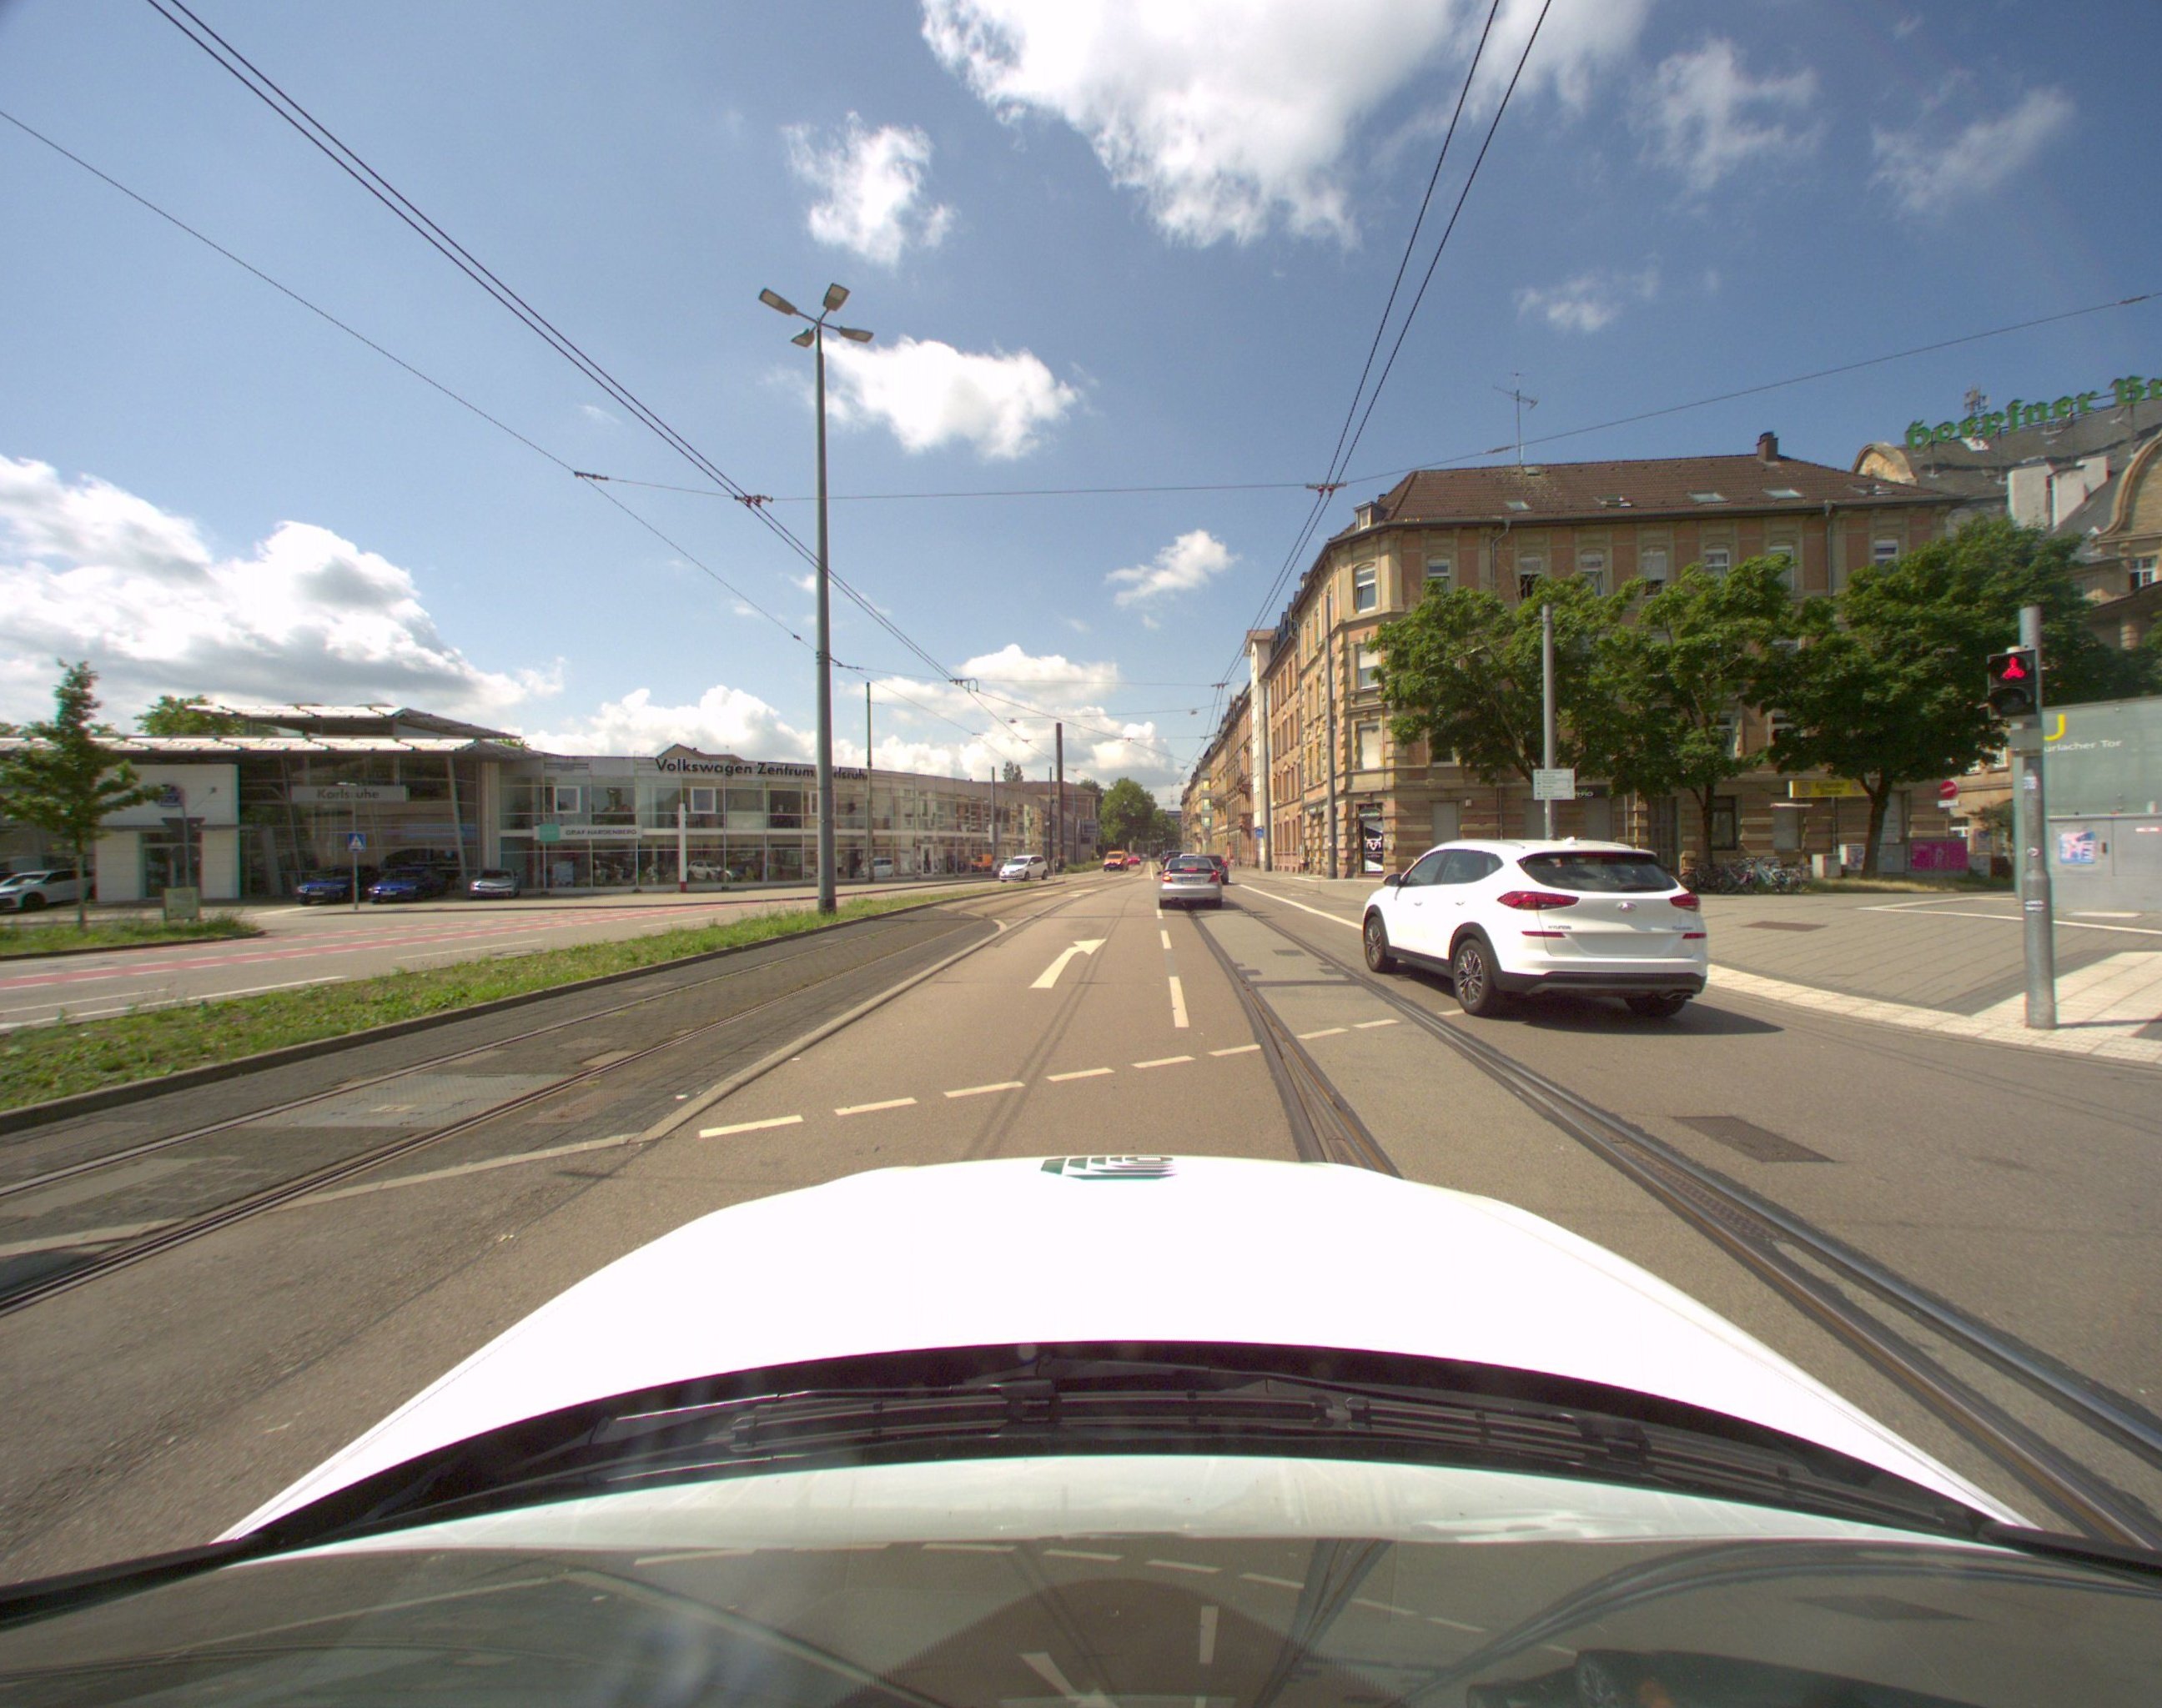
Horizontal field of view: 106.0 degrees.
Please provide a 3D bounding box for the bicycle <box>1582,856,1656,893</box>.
[{"bbox_3d":[16.944,0.627,25.740,1.019,1.081,2.268,-3,0,7],"label":"bicycle"}]

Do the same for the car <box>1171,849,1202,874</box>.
[{"bbox_3d":[6.992,0.482,54.221,1.806,1.524,3.960,-1,0,5],"label":"car"}]

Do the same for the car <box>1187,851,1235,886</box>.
[{"bbox_3d":[6.243,0.662,39.469,1.807,1.524,4.088,-1,0,3],"label":"car"}]

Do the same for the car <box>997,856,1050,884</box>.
[{"bbox_3d":[-3.634,0.987,52.546,1.752,1.604,4.515,-3,0,18],"label":"car"}]

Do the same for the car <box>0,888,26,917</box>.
[{"bbox_3d":[-47.970,2.171,34.822,1.555,1.246,3.621,-1,0,-14],"label":"car"}]

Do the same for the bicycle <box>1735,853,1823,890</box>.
[{"bbox_3d":[21.944,0.522,25.690,0.787,1.053,2.579,-3,0,7],"label":"bicycle"}]

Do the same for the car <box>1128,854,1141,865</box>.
[{"bbox_3d":[7.218,0.747,109.282,1.694,1.428,3.906,-1,0,4],"label":"car"}]

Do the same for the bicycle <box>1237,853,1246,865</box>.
[{"bbox_3d":[15.756,0.468,80.017,0.583,1.178,2.208,-2,0,6],"label":"bicycle"}]

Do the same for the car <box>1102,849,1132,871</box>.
[{"bbox_3d":[3.312,0.493,73.734,1.898,1.865,4.382,-3,0,12],"label":"car"}]

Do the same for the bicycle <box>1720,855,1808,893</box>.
[{"bbox_3d":[21.021,0.584,25.165,0.787,1.091,2.579,-3,0,7],"label":"bicycle"}]

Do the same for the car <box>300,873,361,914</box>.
[{"bbox_3d":[-33.849,1.731,36.806,1.786,1.672,3.597,-1,0,-39],"label":"car"}]

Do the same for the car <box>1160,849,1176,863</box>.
[{"bbox_3d":[11.835,0.216,110.631,1.985,1.859,4.004,-1,0,3],"label":"car"}]

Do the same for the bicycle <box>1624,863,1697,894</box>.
[{"bbox_3d":[17.994,0.738,25.354,0.837,0.880,2.293,-3,0,7],"label":"bicycle"}]

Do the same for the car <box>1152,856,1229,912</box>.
[{"bbox_3d":[3.042,0.779,23.307,1.807,1.420,4.191,-1,0,3],"label":"car"}]

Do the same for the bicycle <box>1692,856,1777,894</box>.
[{"bbox_3d":[20.129,0.626,25.164,0.787,1.053,2.579,-3,0,7],"label":"bicycle"}]

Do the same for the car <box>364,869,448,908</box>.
[{"bbox_3d":[-30.698,1.527,37.182,1.660,1.473,3.765,-1,2,-18],"label":"car"}]

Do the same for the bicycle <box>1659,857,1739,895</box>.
[{"bbox_3d":[19.292,0.663,25.512,0.787,1.070,2.579,-3,0,7],"label":"bicycle"}]

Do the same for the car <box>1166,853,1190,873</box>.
[{"bbox_3d":[8.226,0.745,69.158,1.806,1.661,4.090,-2,0,5],"label":"car"}]

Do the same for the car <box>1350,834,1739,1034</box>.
[{"bbox_3d":[4.496,0.660,8.767,1.846,1.634,4.180,0,0,0],"label":"car"}]

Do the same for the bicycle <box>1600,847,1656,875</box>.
[{"bbox_3d":[21.248,0.260,31.684,1.635,1.050,0.767,-1,0,12],"label":"bicycle"}]

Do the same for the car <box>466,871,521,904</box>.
[{"bbox_3d":[-28.436,1.590,39.524,1.841,1.446,3.908,-1,0,-31],"label":"car"}]

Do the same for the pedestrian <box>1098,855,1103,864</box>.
[{"bbox_3d":[4.202,1.124,175.130,0.876,1.865,1.082,-2,0,5],"label":"pedestrian"}]

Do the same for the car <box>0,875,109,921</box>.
[{"bbox_3d":[-45.353,1.872,35.459,1.694,1.774,3.853,-1,0,-9],"label":"car"}]
